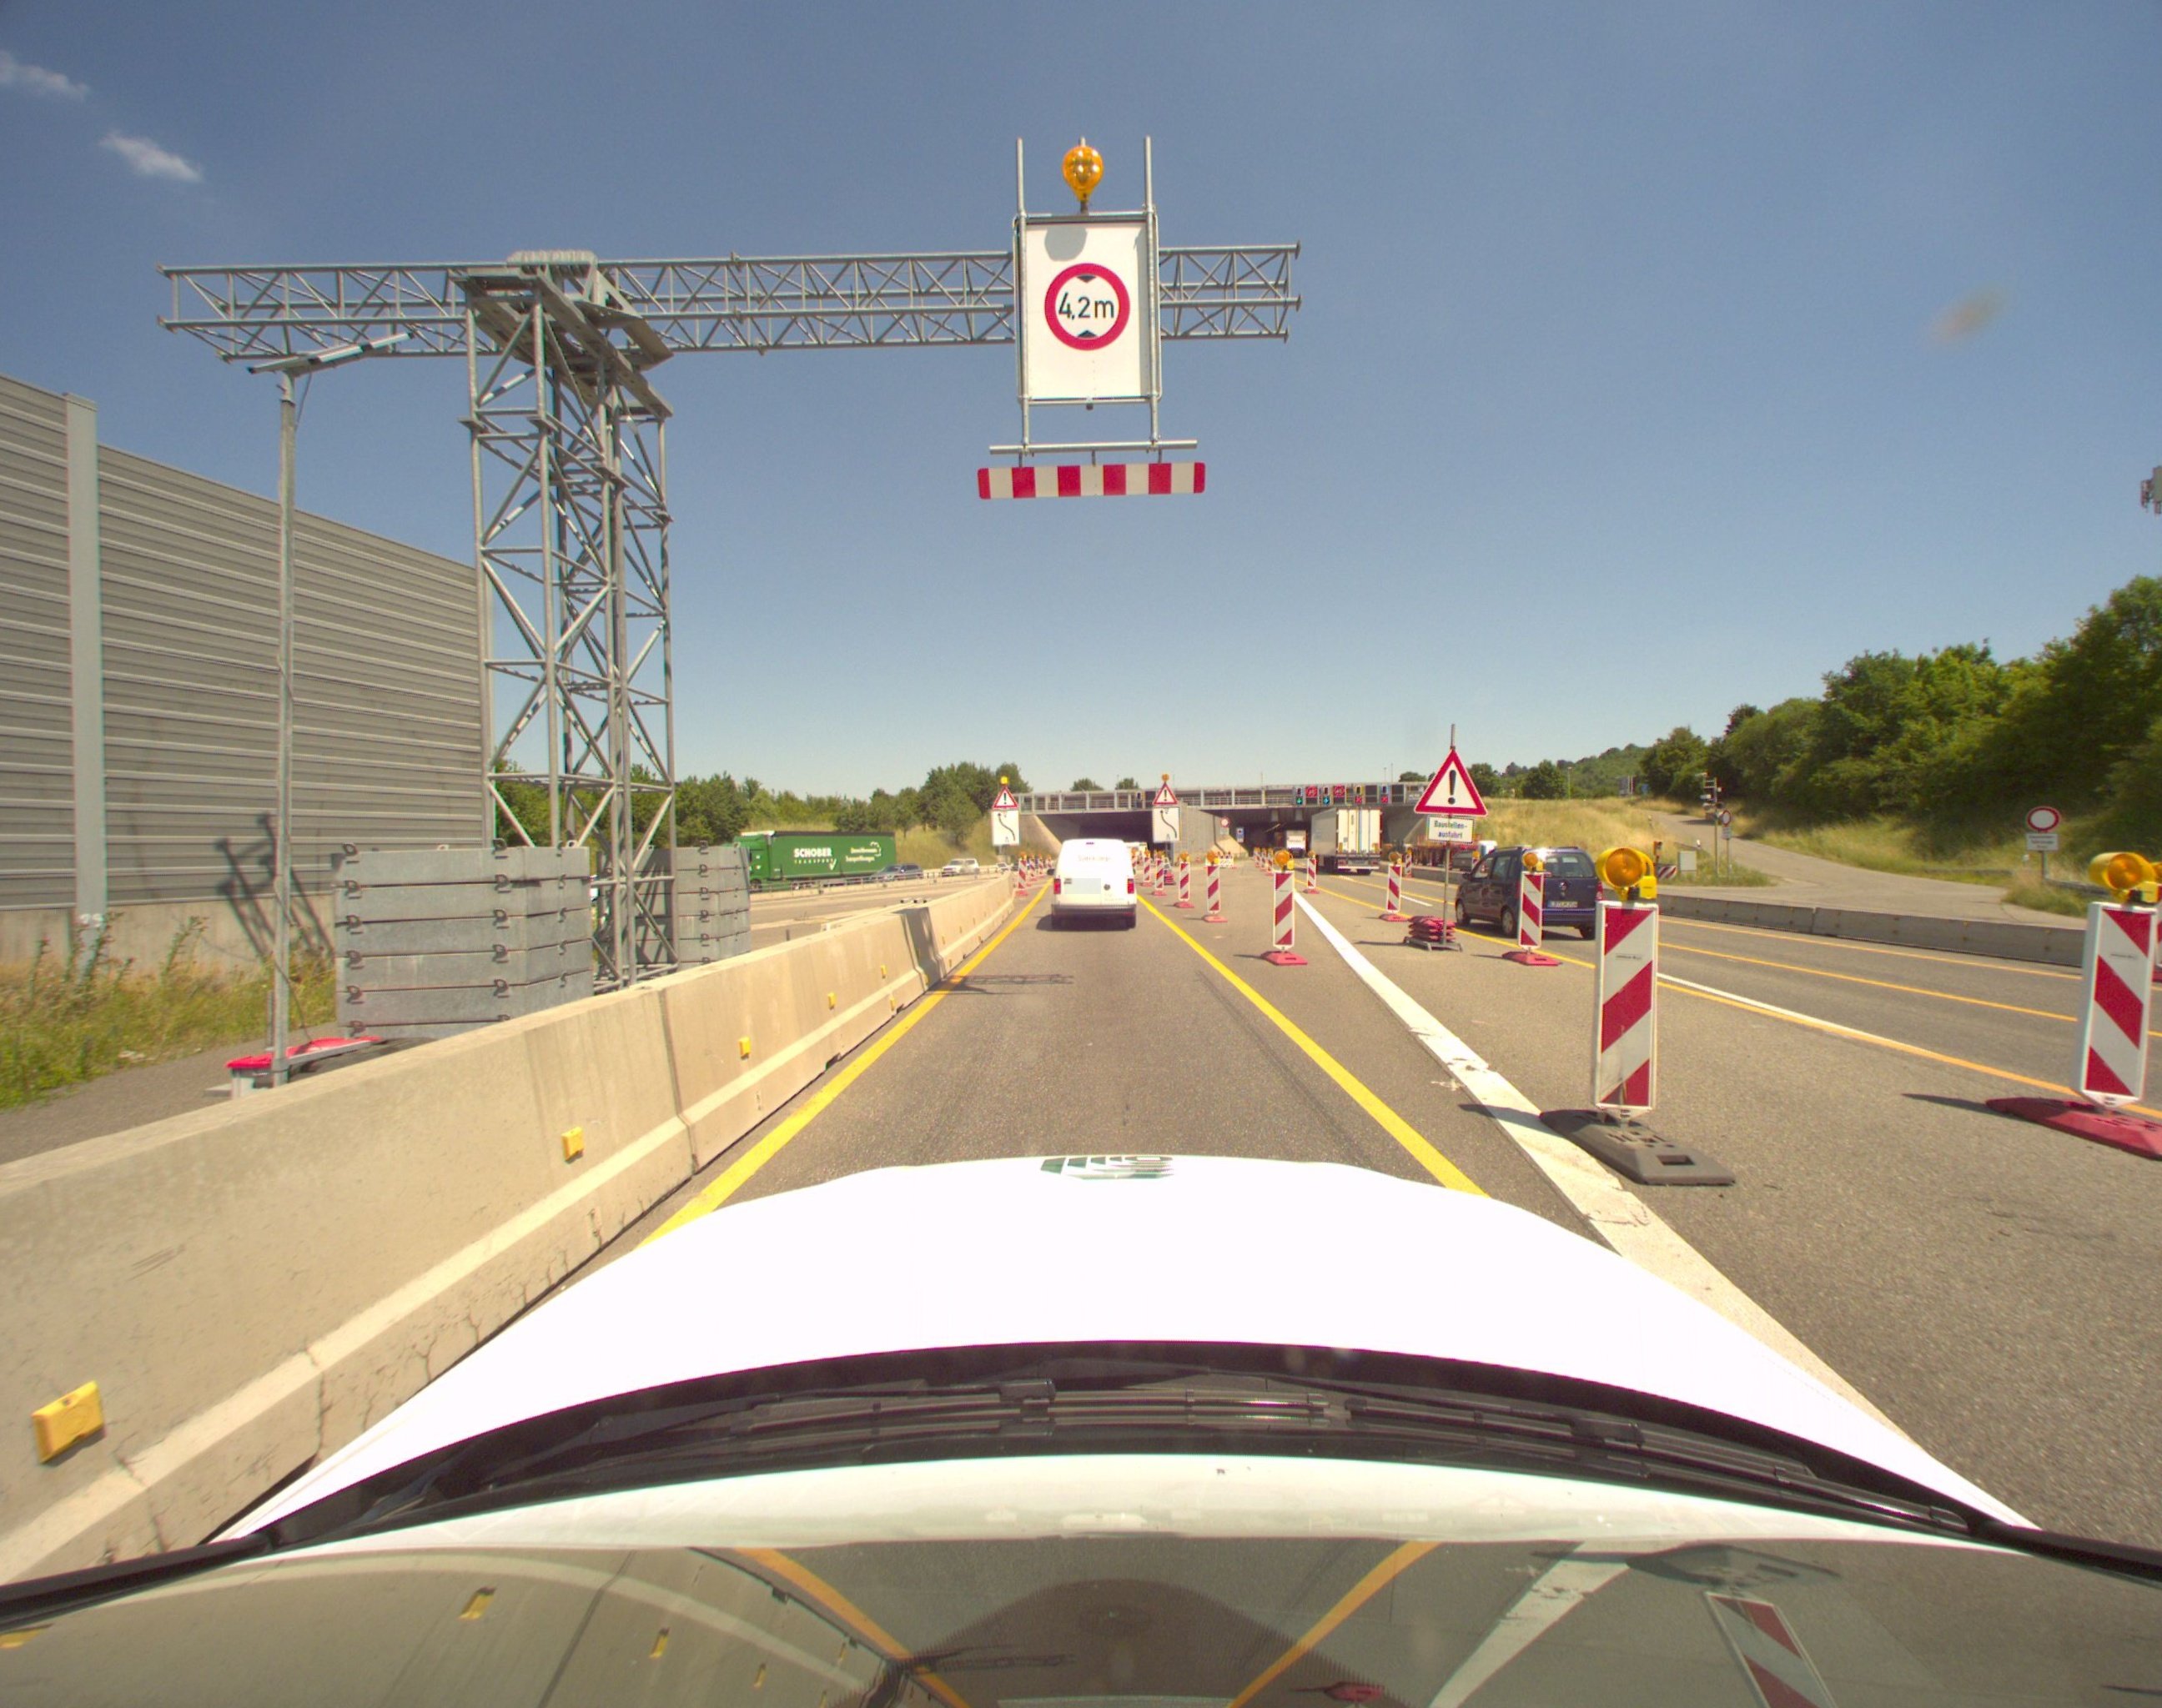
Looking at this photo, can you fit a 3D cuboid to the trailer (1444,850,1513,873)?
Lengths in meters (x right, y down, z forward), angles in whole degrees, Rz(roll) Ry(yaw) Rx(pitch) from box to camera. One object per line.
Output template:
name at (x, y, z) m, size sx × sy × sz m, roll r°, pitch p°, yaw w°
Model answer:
trailer at (29.460, 0.519, 60.591) m, size 2.582 × 1.569 × 6.246 m, roll -2°, pitch 0°, yaw 6°

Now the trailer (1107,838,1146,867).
trailer at (7.364, -0.245, 129.335) m, size 2.416 × 4.296 × 13.875 m, roll -2°, pitch 0°, yaw 19°

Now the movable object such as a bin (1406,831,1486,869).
movable object such as a bin at (33.178, -0.348, 74.846) m, size 3.092 × 3.011 × 14.741 m, roll -2°, pitch 0°, yaw 10°

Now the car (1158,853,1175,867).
car at (12.144, 0.862, 115.548) m, size 1.940 × 1.815 × 4.425 m, roll -2°, pitch 0°, yaw 13°

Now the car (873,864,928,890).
car at (-12.133, 1.547, 55.043) m, size 1.702 × 1.623 × 4.190 m, roll -1°, pitch 0°, yaw 19°

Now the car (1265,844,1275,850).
car at (52.183, -1.919, 225.106) m, size 2.317 × 1.838 × 4.556 m, roll 1°, pitch 0°, yaw 10°

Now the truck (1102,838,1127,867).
truck at (5.097, -0.209, 122.638) m, size 2.411 × 4.270 × 4.862 m, roll -2°, pitch 0°, yaw 19°

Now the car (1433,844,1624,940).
car at (8.807, 0.665, 16.534) m, size 1.805 × 1.642 × 4.661 m, roll 1°, pitch 0°, yaw 7°

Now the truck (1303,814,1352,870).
truck at (18.381, -0.861, 61.145) m, size 2.729 × 4.033 × 5.941 m, roll 1°, pitch 0°, yaw 9°

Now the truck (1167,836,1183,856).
truck at (20.152, -1.712, 174.531) m, size 2.315 × 4.108 × 5.041 m, roll -2°, pitch 0°, yaw 19°

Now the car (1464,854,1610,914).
car at (12.463, 0.760, 22.649) m, size 1.806 × 1.464 × 4.659 m, roll 1°, pitch 0°, yaw 5°

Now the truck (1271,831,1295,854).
truck at (38.748, -2.097, 156.793) m, size 3.381 × 4.071 × 16.581 m, roll 1°, pitch 0°, yaw 10°

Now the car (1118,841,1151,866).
car at (6.193, -0.002, 93.799) m, size 2.795 × 2.773 × 7.123 m, roll 0°, pitch -1°, yaw 11°

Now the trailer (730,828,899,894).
trailer at (-18.993, 0.465, 59.828) m, size 3.515 × 4.270 × 13.983 m, roll 0°, pitch 0°, yaw 23°

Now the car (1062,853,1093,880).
car at (-0.223, 0.744, 50.885) m, size 1.803 × 1.537 × 4.407 m, roll -2°, pitch 0°, yaw -1°

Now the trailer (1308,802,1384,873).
trailer at (17.166, -0.900, 53.793) m, size 2.716 × 4.062 × 14.131 m, roll 1°, pitch 0°, yaw 9°

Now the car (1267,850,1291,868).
car at (19.274, 0.499, 79.567) m, size 1.805 × 1.630 × 4.198 m, roll 1°, pitch 0°, yaw 7°

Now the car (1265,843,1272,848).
car at (57.238, -2.538, 248.279) m, size 1.804 × 1.630 × 4.201 m, roll 0°, pitch 0°, yaw 10°

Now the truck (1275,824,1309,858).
truck at (30.405, -1.727, 118.147) m, size 3.381 × 4.335 × 16.580 m, roll 1°, pitch -1°, yaw 10°

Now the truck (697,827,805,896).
truck at (-21.579, 0.456, 53.615) m, size 3.515 × 4.270 × 5.810 m, roll 0°, pitch 0°, yaw 22°

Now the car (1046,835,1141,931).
car at (0.277, 0.568, 17.615) m, size 1.802 × 1.794 × 3.731 m, roll -2°, pitch 0°, yaw 1°

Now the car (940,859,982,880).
car at (-10.008, 1.288, 68.163) m, size 1.702 × 1.623 × 4.191 m, roll -1°, pitch 0°, yaw 19°
